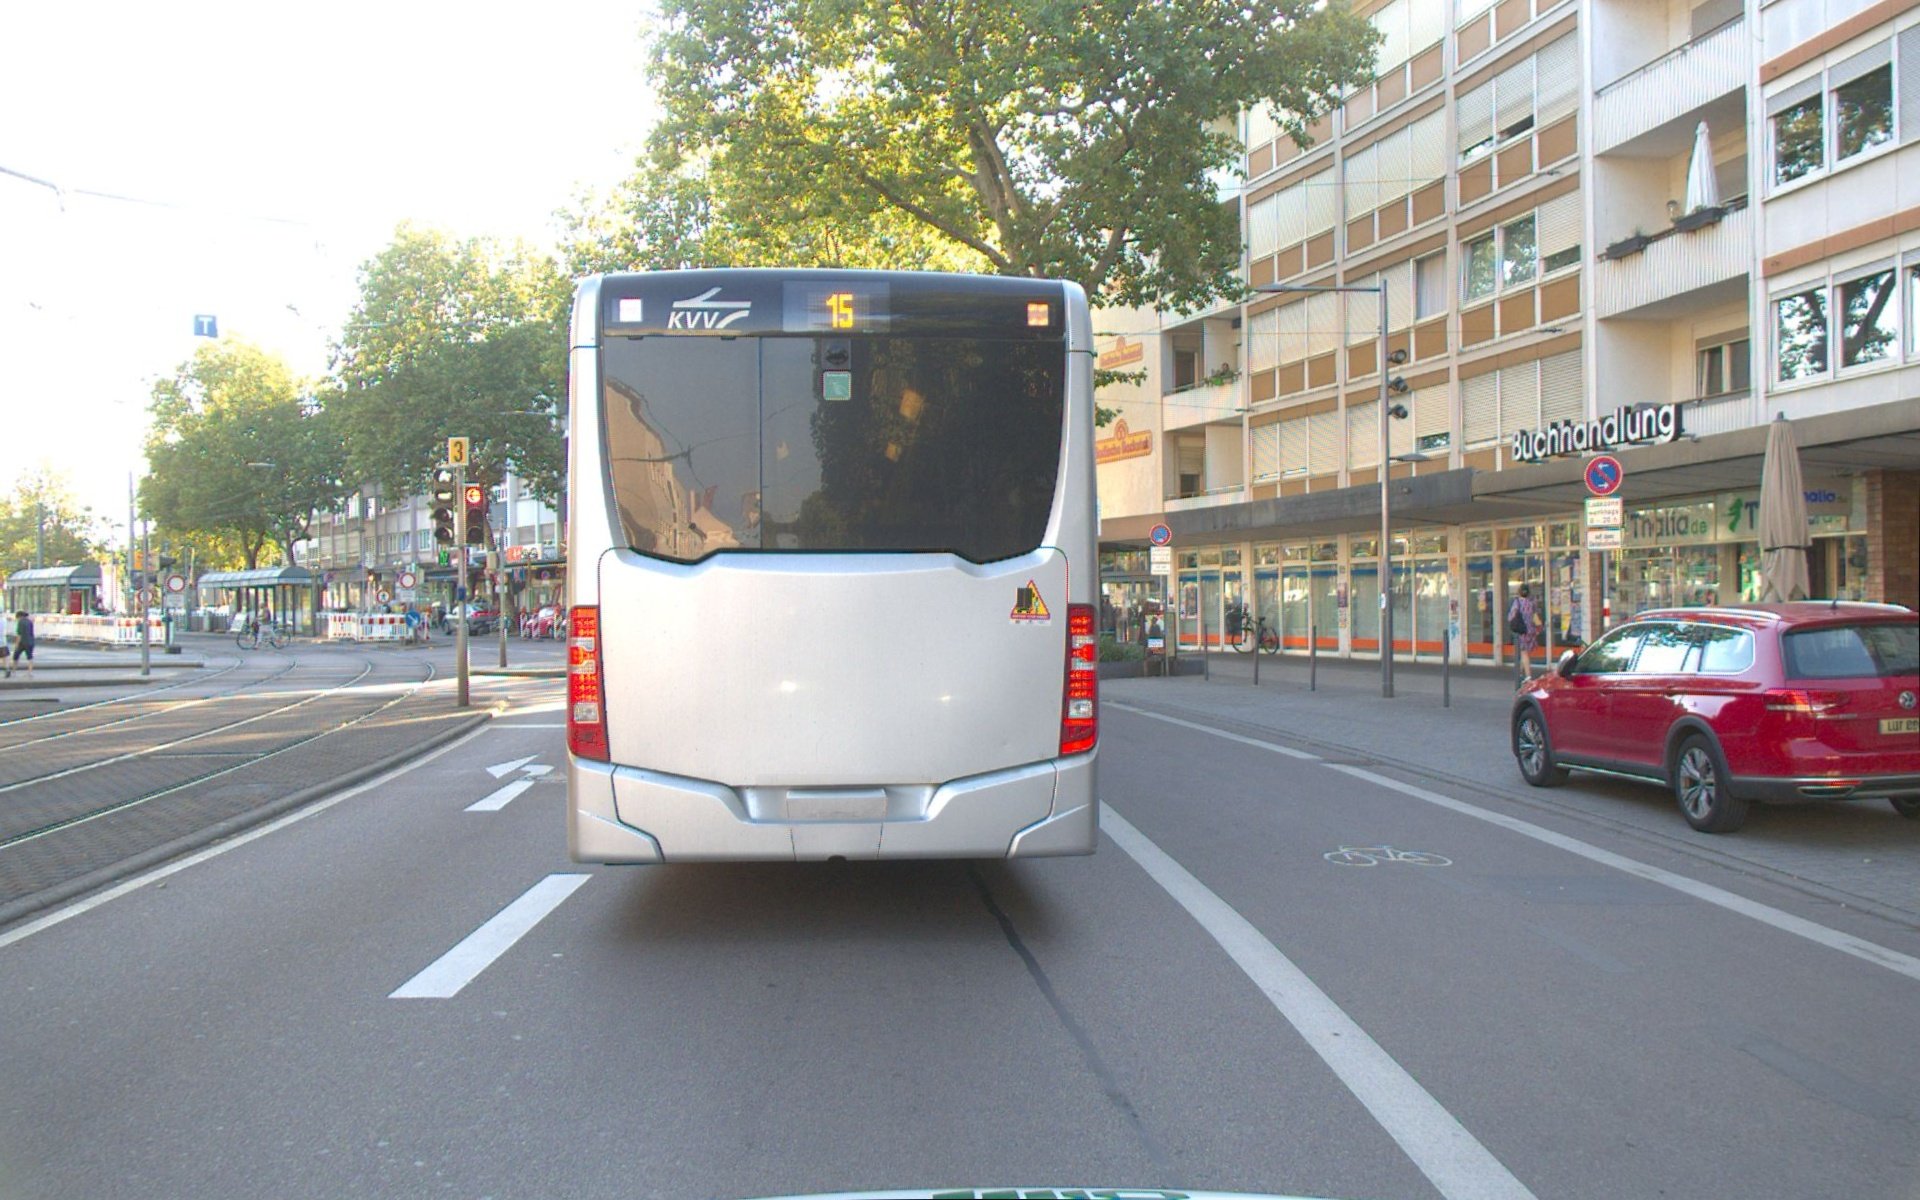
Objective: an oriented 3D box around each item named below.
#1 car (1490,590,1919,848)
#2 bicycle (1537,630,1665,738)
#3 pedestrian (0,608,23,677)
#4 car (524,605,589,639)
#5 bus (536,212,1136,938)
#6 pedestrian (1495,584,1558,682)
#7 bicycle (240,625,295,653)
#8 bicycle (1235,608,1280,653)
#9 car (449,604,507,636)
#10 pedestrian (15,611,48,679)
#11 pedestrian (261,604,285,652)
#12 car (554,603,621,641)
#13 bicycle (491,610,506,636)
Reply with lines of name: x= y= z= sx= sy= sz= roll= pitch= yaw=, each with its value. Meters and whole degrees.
car: x=5.814 y=0.735 z=12.586 sx=1.744 sy=1.522 sz=4.563 roll=-3 pitch=0 yaw=-4
bicycle: x=7.040 y=0.898 z=18.243 sx=0.502 sy=1.089 sz=1.657 roll=-3 pitch=0 yaw=-10
pedestrian: x=-21.444 y=0.950 z=37.057 sx=0.509 sy=1.530 sz=0.594 roll=-1 pitch=0 yaw=16
car: x=-18.871 y=1.013 z=77.335 sx=1.651 sy=1.419 sz=3.365 roll=-4 pitch=3 yaw=-39
bus: x=-0.877 y=-0.086 z=12.377 sx=2.605 sy=3.153 sz=10.207 roll=-1 pitch=0 yaw=-4
pedestrian: x=9.329 y=0.532 z=27.254 sx=0.628 sy=1.579 sz=0.805 roll=0 pitch=0 yaw=-14
bicycle: x=-25.509 y=1.433 z=60.956 sx=0.456 sy=0.959 sz=1.833 roll=-1 pitch=0 yaw=44
bicycle: x=7.557 y=0.759 z=42.070 sx=0.431 sy=1.111 sz=1.453 roll=-3 pitch=1 yaw=-20
car: x=-24.609 y=1.008 z=84.337 sx=1.651 sy=1.494 sz=3.366 roll=-4 pitch=2 yaw=-38
pedestrian: x=-21.120 y=1.018 z=37.613 sx=0.399 sy=1.530 sz=0.517 roll=-1 pitch=0 yaw=15
pedestrian: x=-25.172 y=1.016 z=60.615 sx=0.717 sy=1.755 sz=0.393 roll=0 pitch=0 yaw=-45
car: x=-16.645 y=0.961 z=73.851 sx=1.650 sy=1.542 sz=3.368 roll=-4 pitch=2 yaw=-37
bicycle: x=-22.683 y=1.134 z=81.256 sx=0.499 sy=1.232 sz=2.079 roll=0 pitch=0 yaw=-21
